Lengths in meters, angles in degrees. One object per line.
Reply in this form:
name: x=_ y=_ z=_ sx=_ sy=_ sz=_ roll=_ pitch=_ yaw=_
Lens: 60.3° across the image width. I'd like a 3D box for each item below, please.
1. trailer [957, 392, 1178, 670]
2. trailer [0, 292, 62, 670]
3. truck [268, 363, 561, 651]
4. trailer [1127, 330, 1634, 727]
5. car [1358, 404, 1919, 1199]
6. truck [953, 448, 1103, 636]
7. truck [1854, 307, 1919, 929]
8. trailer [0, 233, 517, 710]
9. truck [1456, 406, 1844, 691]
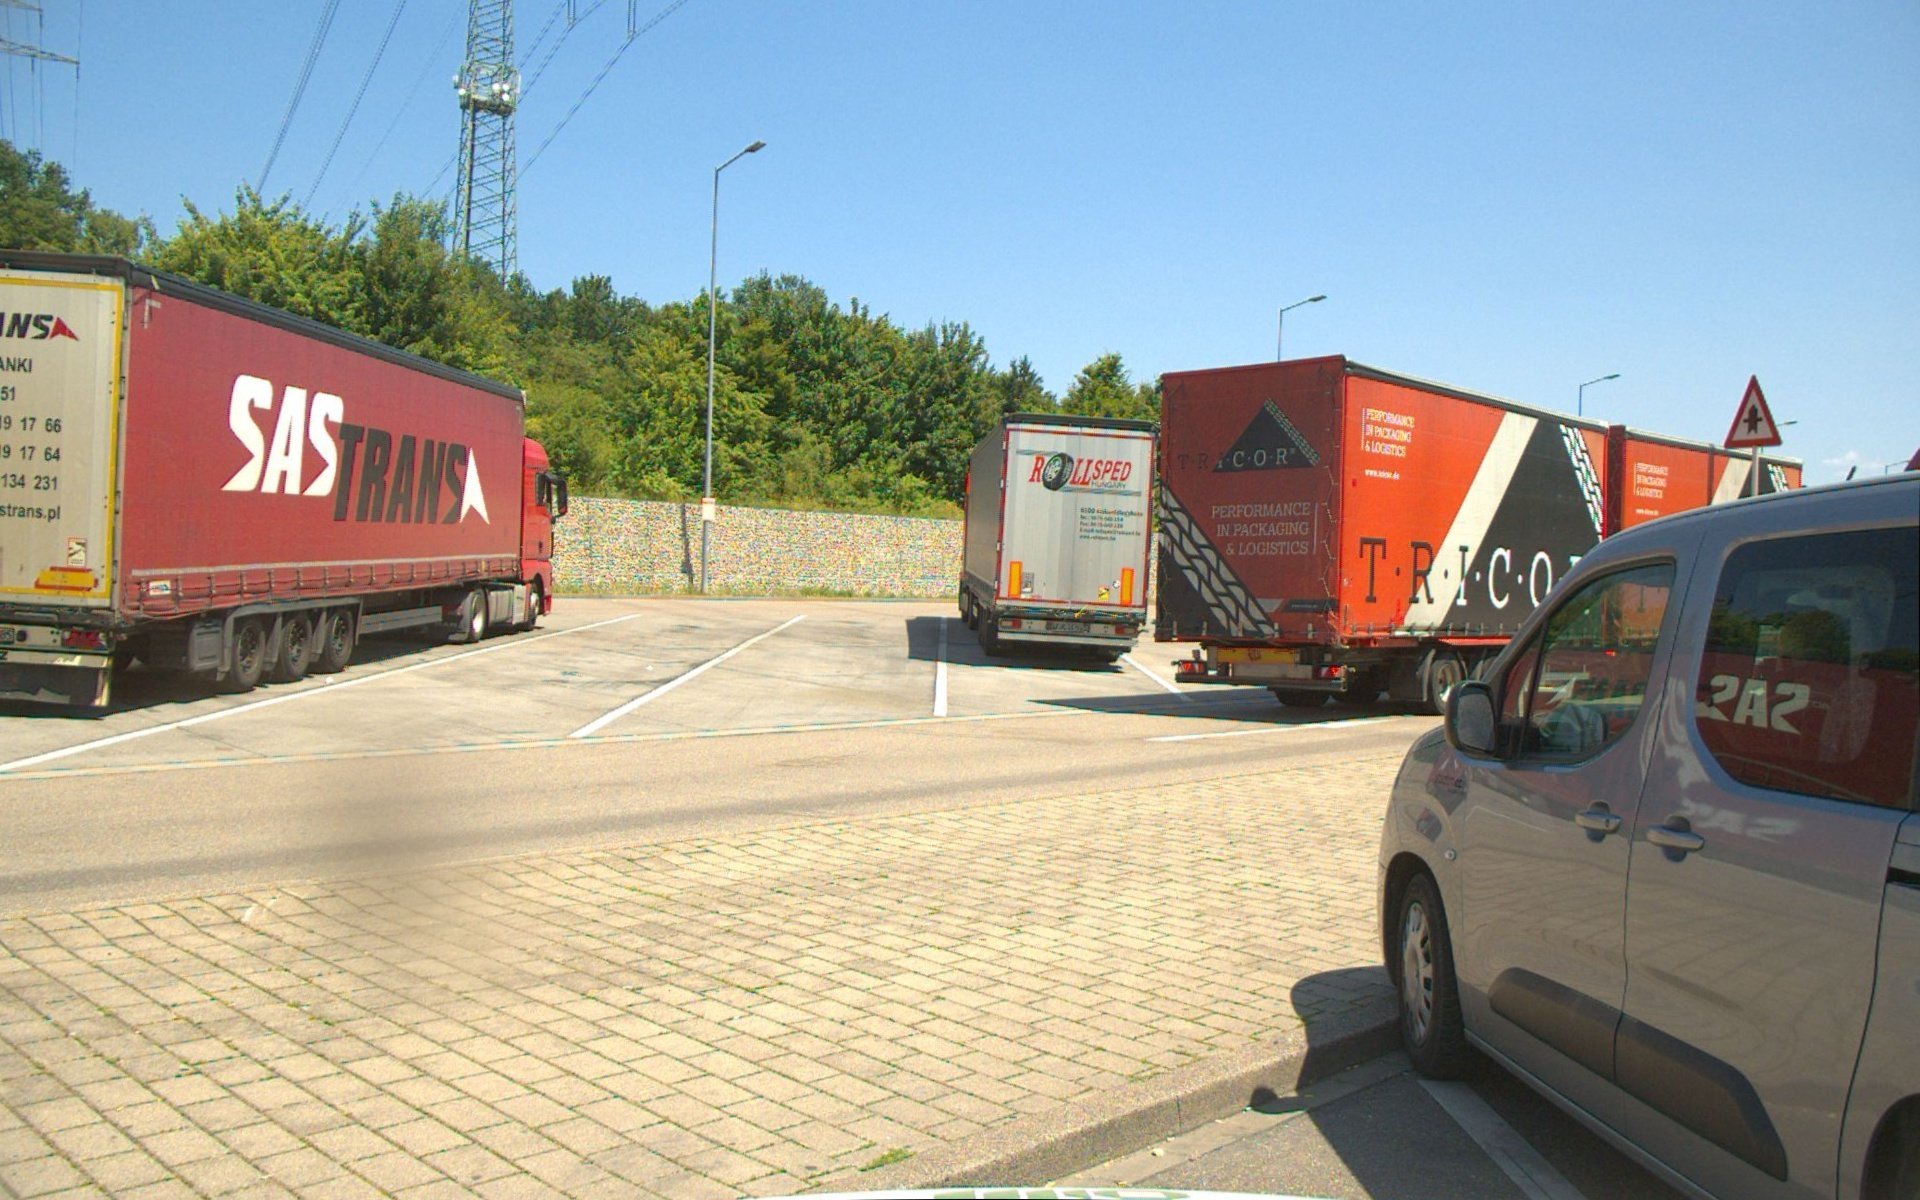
trailer: x=1.696 y=-1.320 z=32.681 sx=3.008 sy=4.301 sz=12.805 roll=2 pitch=2 yaw=-2
trailer: x=-12.412 y=-1.315 z=15.451 sx=2.689 sy=4.337 sz=9.733 roll=1 pitch=1 yaw=0
truck: x=-8.778 y=-1.426 z=27.542 sx=2.687 sy=4.152 sz=6.828 roll=1 pitch=1 yaw=-1
trailer: x=5.972 y=-0.826 z=22.178 sx=2.794 sy=4.332 sz=8.630 roll=2 pitch=1 yaw=43
car: x=2.429 y=0.554 z=3.819 sx=1.790 sy=1.784 sz=3.997 roll=1 pitch=1 yaw=-4
truck: x=1.463 y=-1.386 z=39.447 sx=2.965 sy=3.997 sz=6.845 roll=2 pitch=2 yaw=-2
truck: x=4.976 y=0.126 z=4.940 sx=1.952 sy=2.669 sz=5.305 roll=1 pitch=1 yaw=3
trailer: x=-8.683 y=-1.264 z=21.019 sx=2.694 sy=4.128 sz=13.285 roll=1 pitch=1 yaw=-1
truck: x=12.474 y=-0.793 z=29.120 sx=2.648 sy=4.199 sz=10.532 roll=1 pitch=1 yaw=44
